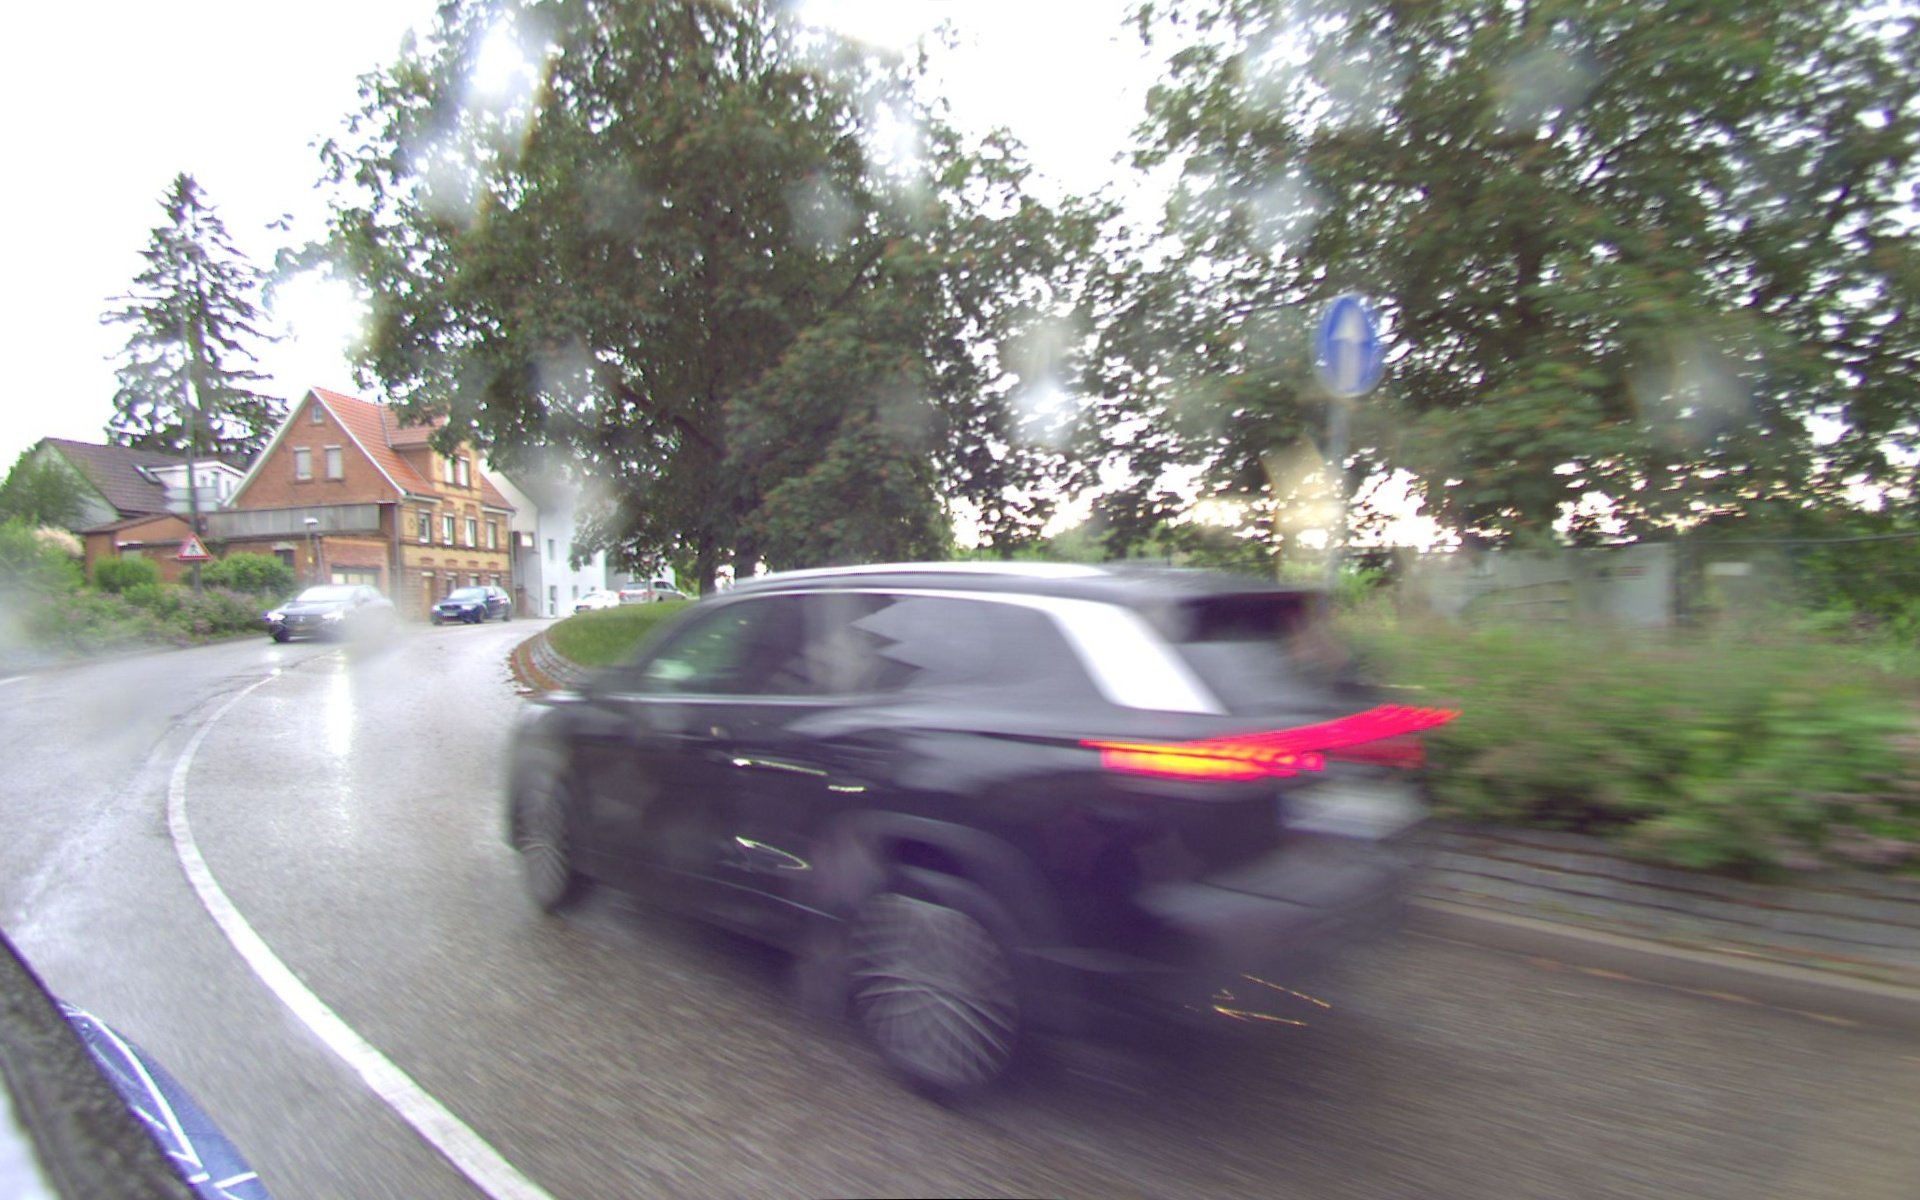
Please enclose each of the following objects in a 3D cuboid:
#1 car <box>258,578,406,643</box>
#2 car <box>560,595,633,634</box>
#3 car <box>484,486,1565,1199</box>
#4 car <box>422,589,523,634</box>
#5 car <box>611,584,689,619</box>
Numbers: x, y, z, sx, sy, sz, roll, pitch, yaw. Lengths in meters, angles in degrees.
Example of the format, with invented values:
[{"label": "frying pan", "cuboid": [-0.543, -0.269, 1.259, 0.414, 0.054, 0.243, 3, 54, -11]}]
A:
[{"label": "car", "cuboid": [-17.471, 0.371, 28.457, 1.810, 1.525, 4.858, -5, -2, -11]}, {"label": "car", "cuboid": [-19.271, 0.809, 53.915, 1.877, 1.671, 4.940, -4, -4, 2]}, {"label": "car", "cuboid": [-0.172, 0.635, 4.263, 4.356, 1.607, 1.872, -2, -2, 44]}, {"label": "car", "cuboid": [-18.512, 0.496, 38.704, 1.765, 1.357, 4.948, -4, -4, -4]}, {"label": "car", "cuboid": [-14.292, 0.041, 46.890, 1.714, 1.554, 4.288, 0, 1, 9]}]
